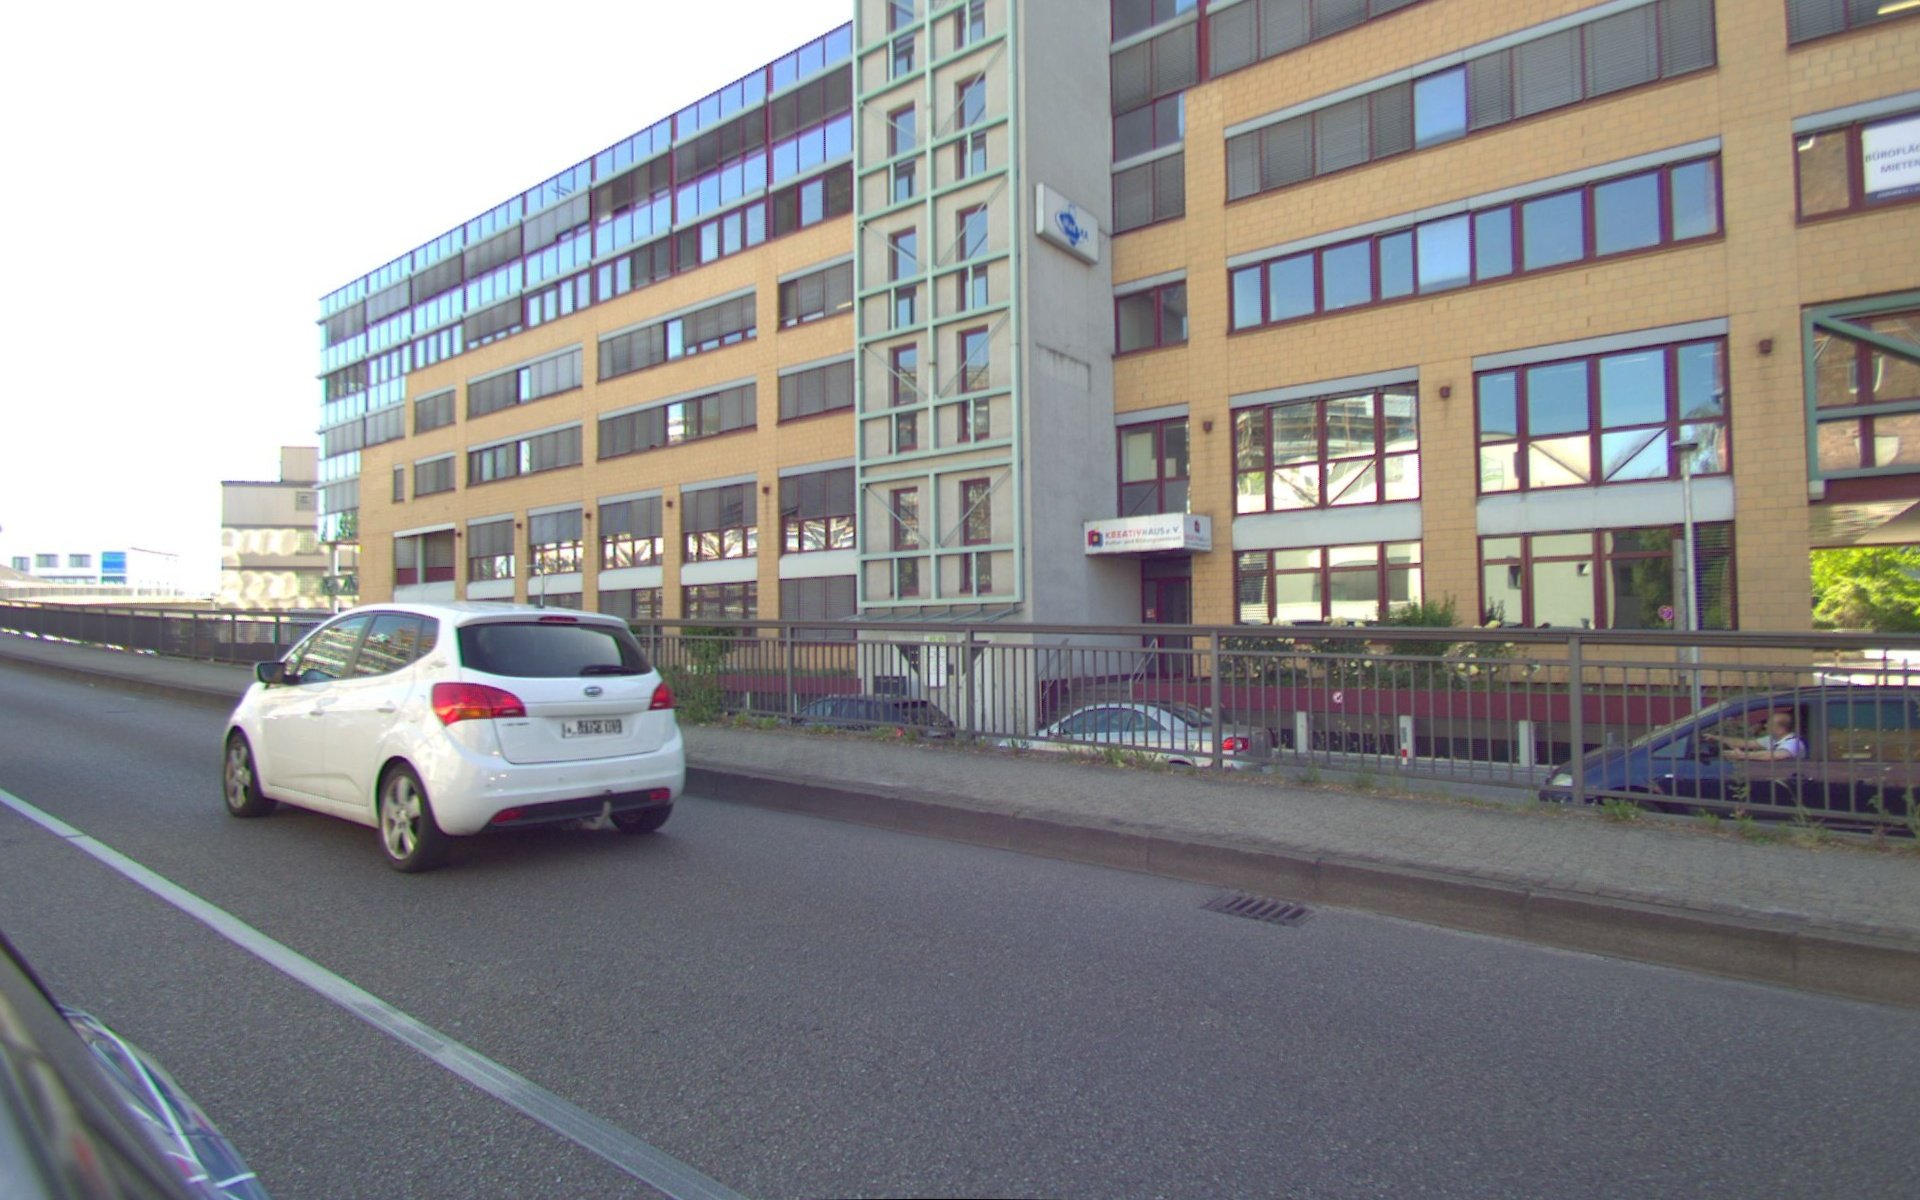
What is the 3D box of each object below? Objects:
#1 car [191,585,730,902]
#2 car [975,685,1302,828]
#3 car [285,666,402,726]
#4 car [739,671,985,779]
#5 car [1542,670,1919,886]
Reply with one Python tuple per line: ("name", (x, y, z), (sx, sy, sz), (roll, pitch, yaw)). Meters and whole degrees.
("car", (-3.636, 0.787, 7.112), (3.994, 1.616, 1.803), (-1, -3, 38))
("car", (2.487, 2.125, 14.685), (4.350, 1.616, 1.803), (-2, -3, 37))
("car", (-19.380, 2.942, 31.755), (3.997, 1.674, 1.973), (-2, -3, 40))
("car", (-1.836, 2.143, 18.198), (4.350, 1.616, 1.803), (-2, -3, 37))
("car", (8.553, 1.648, 9.978), (4.678, 1.771, 1.933), (-2, -2, 36))
